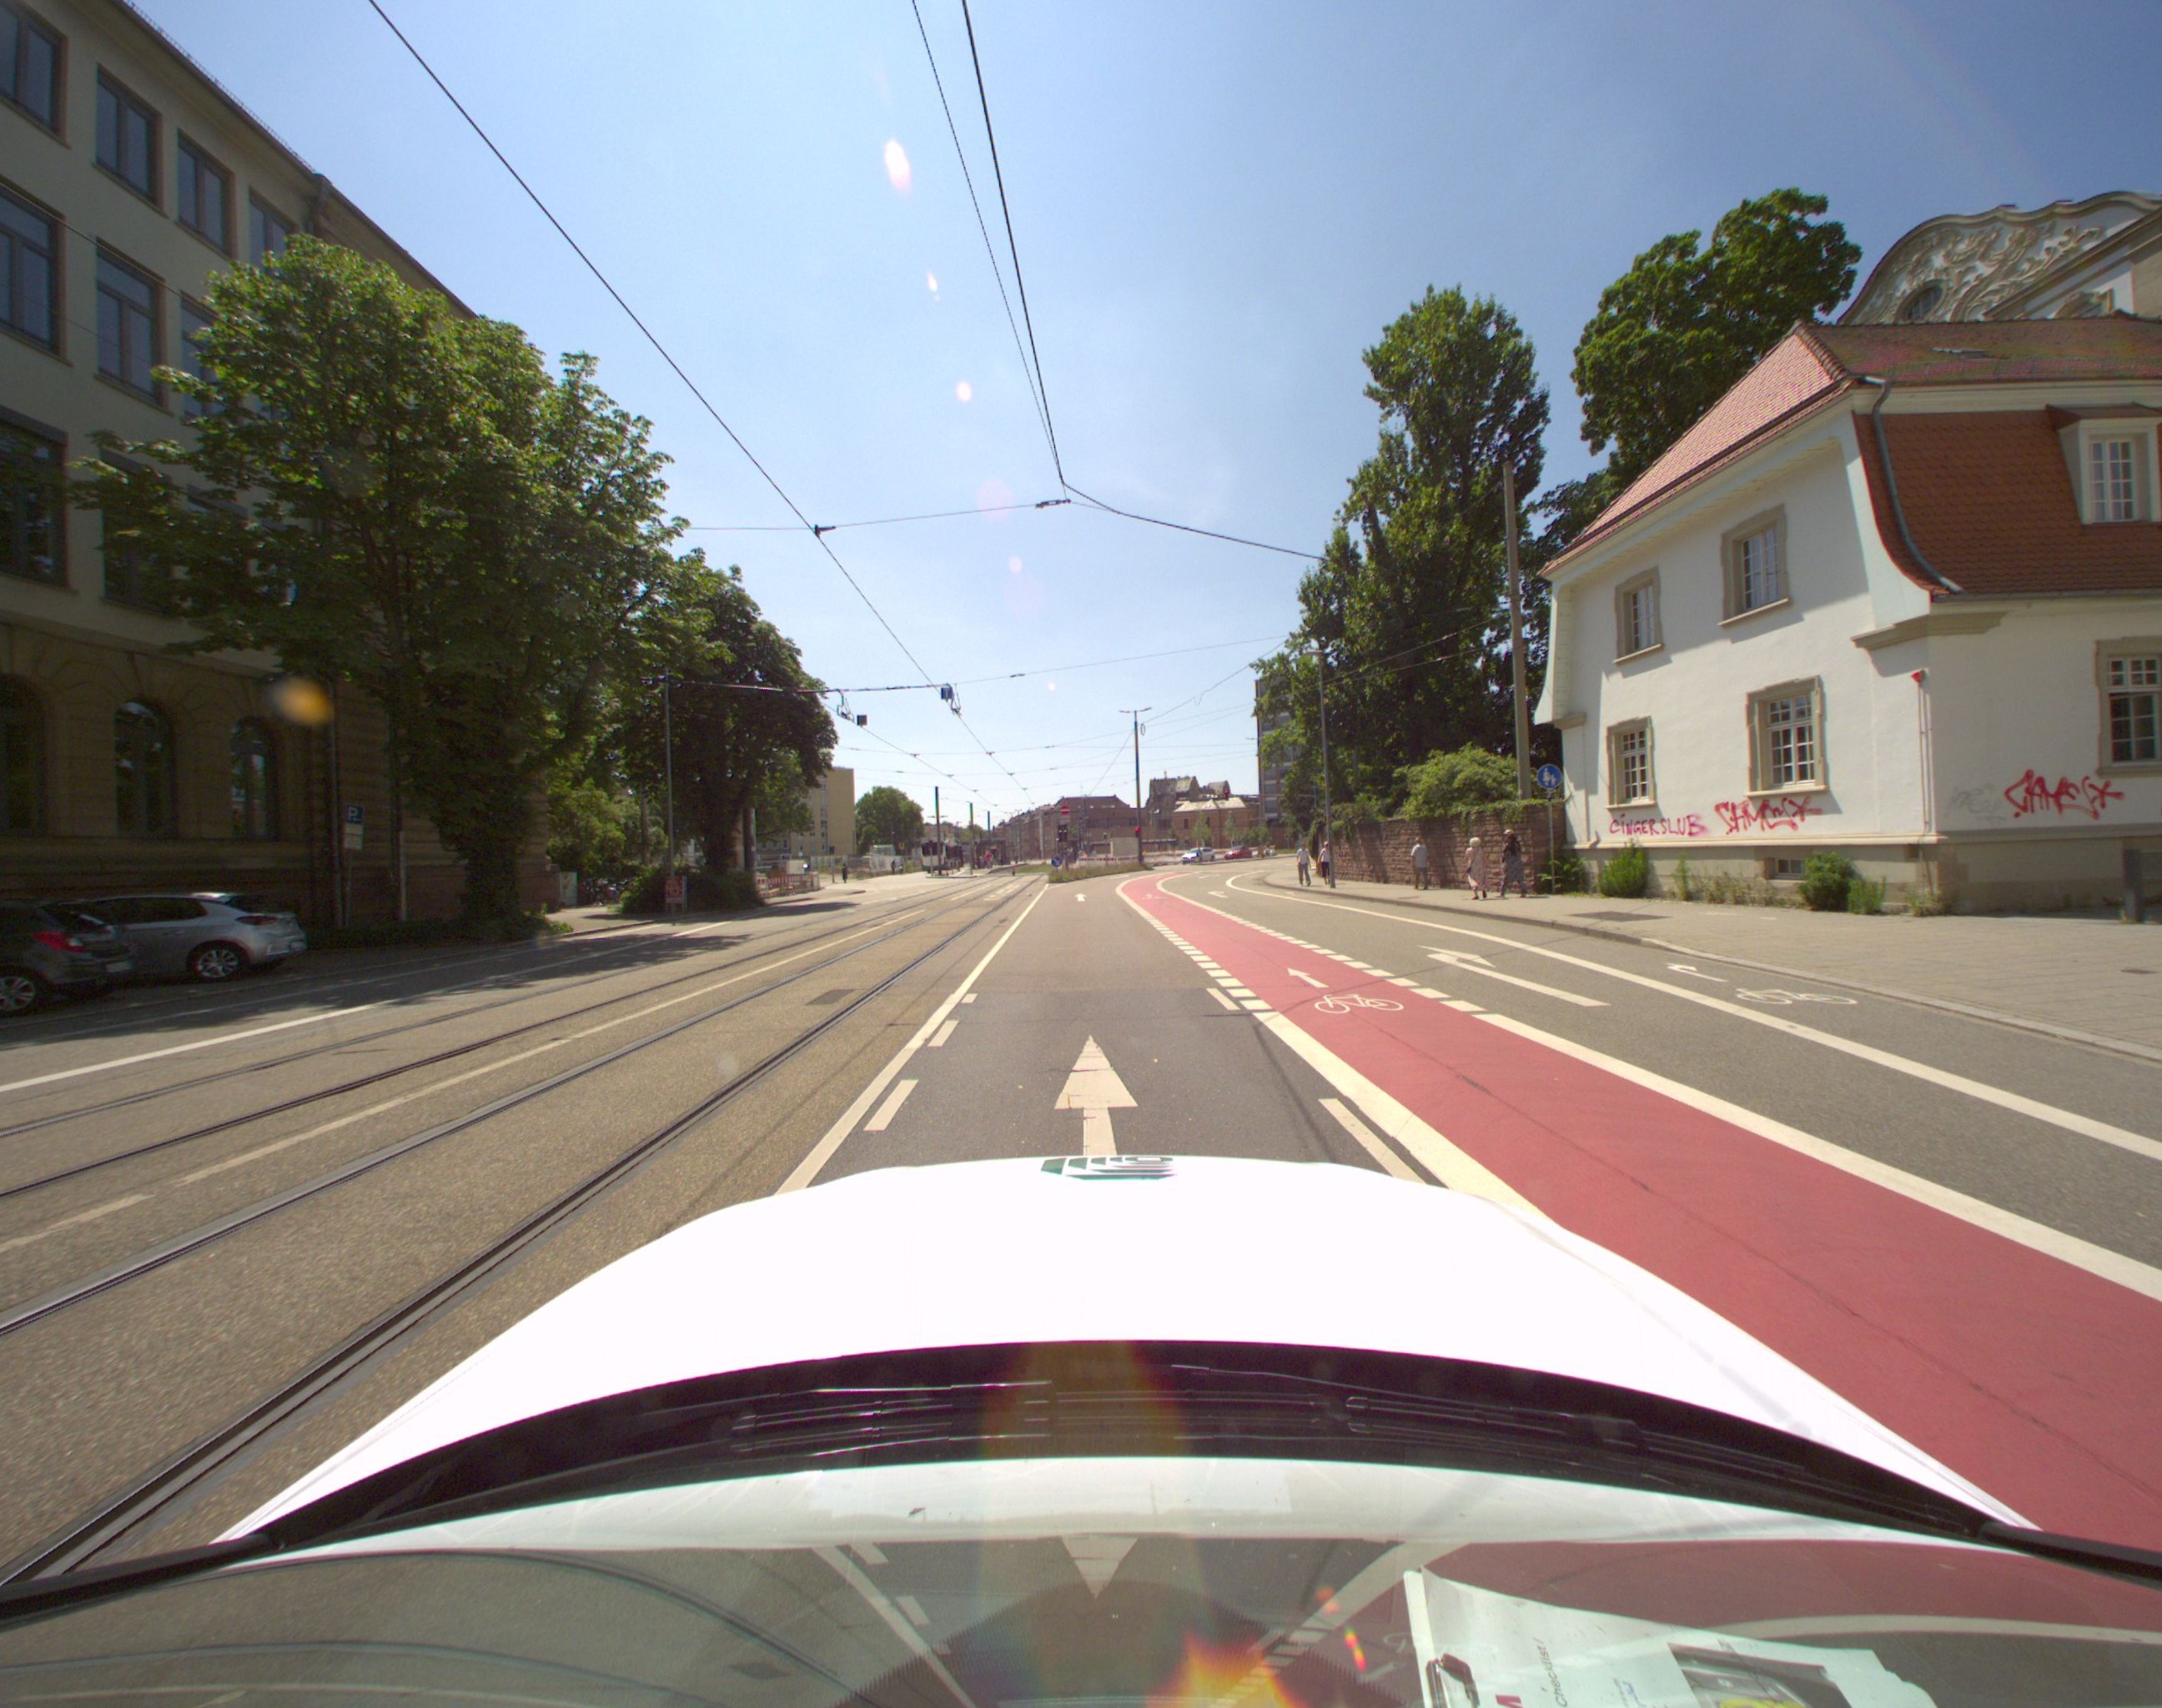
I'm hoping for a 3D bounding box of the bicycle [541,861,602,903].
[{"bbox_3d":[-21.803,1.192,34.889,2.310,1.692,0.553,-2,-1,5],"label":"bicycle"}]

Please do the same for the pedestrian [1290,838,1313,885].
[{"bbox_3d":[8.788,0.288,32.442,0.674,1.808,0.749,-2,0,3],"label":"pedestrian"}]

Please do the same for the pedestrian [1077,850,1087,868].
[{"bbox_3d":[0.079,0.534,87.569,0.771,1.864,0.721,-1,-1,-42],"label":"pedestrian"}]

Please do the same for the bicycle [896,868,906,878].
[{"bbox_3d":[-17.964,1.887,81.387,0.502,0.914,2.368,-2,0,-3],"label":"bicycle"}]

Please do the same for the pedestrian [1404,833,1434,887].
[{"bbox_3d":[10.650,0.179,25.663,0.657,1.647,0.625,-2,0,4],"label":"pedestrian"}]

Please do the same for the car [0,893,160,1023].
[{"bbox_3d":[-14.582,1.338,10.197,3.687,1.520,1.654,-1,-1,-29],"label":"car"}]

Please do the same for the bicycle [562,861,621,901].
[{"bbox_3d":[-21.708,1.174,36.145,2.310,1.692,0.553,-2,-1,5],"label":"bicycle"}]

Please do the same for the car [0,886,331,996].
[{"bbox_3d":[-14.787,1.321,13.187,3.559,1.406,1.686,-2,0,-29],"label":"car"}]

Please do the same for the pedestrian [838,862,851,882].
[{"bbox_3d":[-19.404,1.472,66.794,0.602,1.602,0.828,-3,0,9],"label":"pedestrian"}]

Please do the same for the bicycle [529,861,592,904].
[{"bbox_3d":[-21.896,1.196,34.276,2.310,1.692,0.553,-2,-1,5],"label":"bicycle"}]

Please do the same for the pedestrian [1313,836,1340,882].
[{"bbox_3d":[9.808,0.204,32.559,0.810,1.808,0.701,-2,0,3],"label":"pedestrian"}]

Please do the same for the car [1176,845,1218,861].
[{"bbox_3d":[10.930,-0.098,76.704,1.974,1.438,4.735,-2,-1,34],"label":"car"}]

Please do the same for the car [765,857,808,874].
[{"bbox_3d":[-33.601,1.312,92.955,4.155,1.649,1.857,-2,0,11],"label":"car"}]

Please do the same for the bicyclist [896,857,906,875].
[{"bbox_3d":[-18.001,1.169,81.425,0.819,1.709,0.769,-2,0,-3],"label":"bicyclist"}]

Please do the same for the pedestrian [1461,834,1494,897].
[{"bbox_3d":[9.986,0.280,20.526,0.513,1.532,0.598,-2,0,4],"label":"pedestrian"}]

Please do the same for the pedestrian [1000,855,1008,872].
[{"bbox_3d":[-10.234,1.266,108.164,0.895,2.096,0.832,-2,0,4],"label":"pedestrian"}]

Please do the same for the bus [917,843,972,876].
[{"bbox_3d":[-14.776,0.569,89.869,3.000,3.158,17.496,-3,0,0],"label":"bus"}]

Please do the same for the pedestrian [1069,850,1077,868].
[{"bbox_3d":[-0.838,0.491,85.778,0.656,1.832,0.758,-2,0,-8],"label":"pedestrian"}]

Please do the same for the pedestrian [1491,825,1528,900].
[{"bbox_3d":[10.588,0.215,20.137,0.622,1.774,0.721,3,-5,17],"label":"pedestrian"}]

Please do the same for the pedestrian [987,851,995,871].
[{"bbox_3d":[-8.705,0.679,78.487,0.673,1.909,0.638,-2,0,-10],"label":"pedestrian"}]

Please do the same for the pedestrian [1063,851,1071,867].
[{"bbox_3d":[-1.448,0.524,84.981,0.727,1.707,0.740,-1,-1,-12],"label":"pedestrian"}]

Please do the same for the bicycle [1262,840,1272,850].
[{"bbox_3d":[22.112,-1.043,96.910,0.394,1.174,1.782,-3,-2,37],"label":"bicycle"}]

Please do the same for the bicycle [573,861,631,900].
[{"bbox_3d":[-21.643,1.184,36.783,2.310,1.692,0.553,-2,-1,5],"label":"bicycle"}]

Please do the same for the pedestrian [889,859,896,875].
[{"bbox_3d":[-19.558,1.341,84.593,0.566,1.705,0.396,-2,0,-8],"label":"pedestrian"}]

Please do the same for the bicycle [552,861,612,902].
[{"bbox_3d":[-21.754,1.190,35.522,2.310,1.692,0.553,-2,-1,5],"label":"bicycle"}]

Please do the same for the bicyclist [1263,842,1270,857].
[{"bbox_3d":[22.120,-0.505,96.913,0.561,1.719,0.510,-3,0,40],"label":"bicyclist"}]

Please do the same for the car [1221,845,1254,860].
[{"bbox_3d":[16.313,-0.175,84.571,1.714,1.425,4.150,-3,-1,36],"label":"car"}]

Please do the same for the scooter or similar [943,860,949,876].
[{"bbox_3d":[-10.863,1.119,65.467,0.318,1.206,1.246,-2,0,-5],"label":"scooter or similar"}]
